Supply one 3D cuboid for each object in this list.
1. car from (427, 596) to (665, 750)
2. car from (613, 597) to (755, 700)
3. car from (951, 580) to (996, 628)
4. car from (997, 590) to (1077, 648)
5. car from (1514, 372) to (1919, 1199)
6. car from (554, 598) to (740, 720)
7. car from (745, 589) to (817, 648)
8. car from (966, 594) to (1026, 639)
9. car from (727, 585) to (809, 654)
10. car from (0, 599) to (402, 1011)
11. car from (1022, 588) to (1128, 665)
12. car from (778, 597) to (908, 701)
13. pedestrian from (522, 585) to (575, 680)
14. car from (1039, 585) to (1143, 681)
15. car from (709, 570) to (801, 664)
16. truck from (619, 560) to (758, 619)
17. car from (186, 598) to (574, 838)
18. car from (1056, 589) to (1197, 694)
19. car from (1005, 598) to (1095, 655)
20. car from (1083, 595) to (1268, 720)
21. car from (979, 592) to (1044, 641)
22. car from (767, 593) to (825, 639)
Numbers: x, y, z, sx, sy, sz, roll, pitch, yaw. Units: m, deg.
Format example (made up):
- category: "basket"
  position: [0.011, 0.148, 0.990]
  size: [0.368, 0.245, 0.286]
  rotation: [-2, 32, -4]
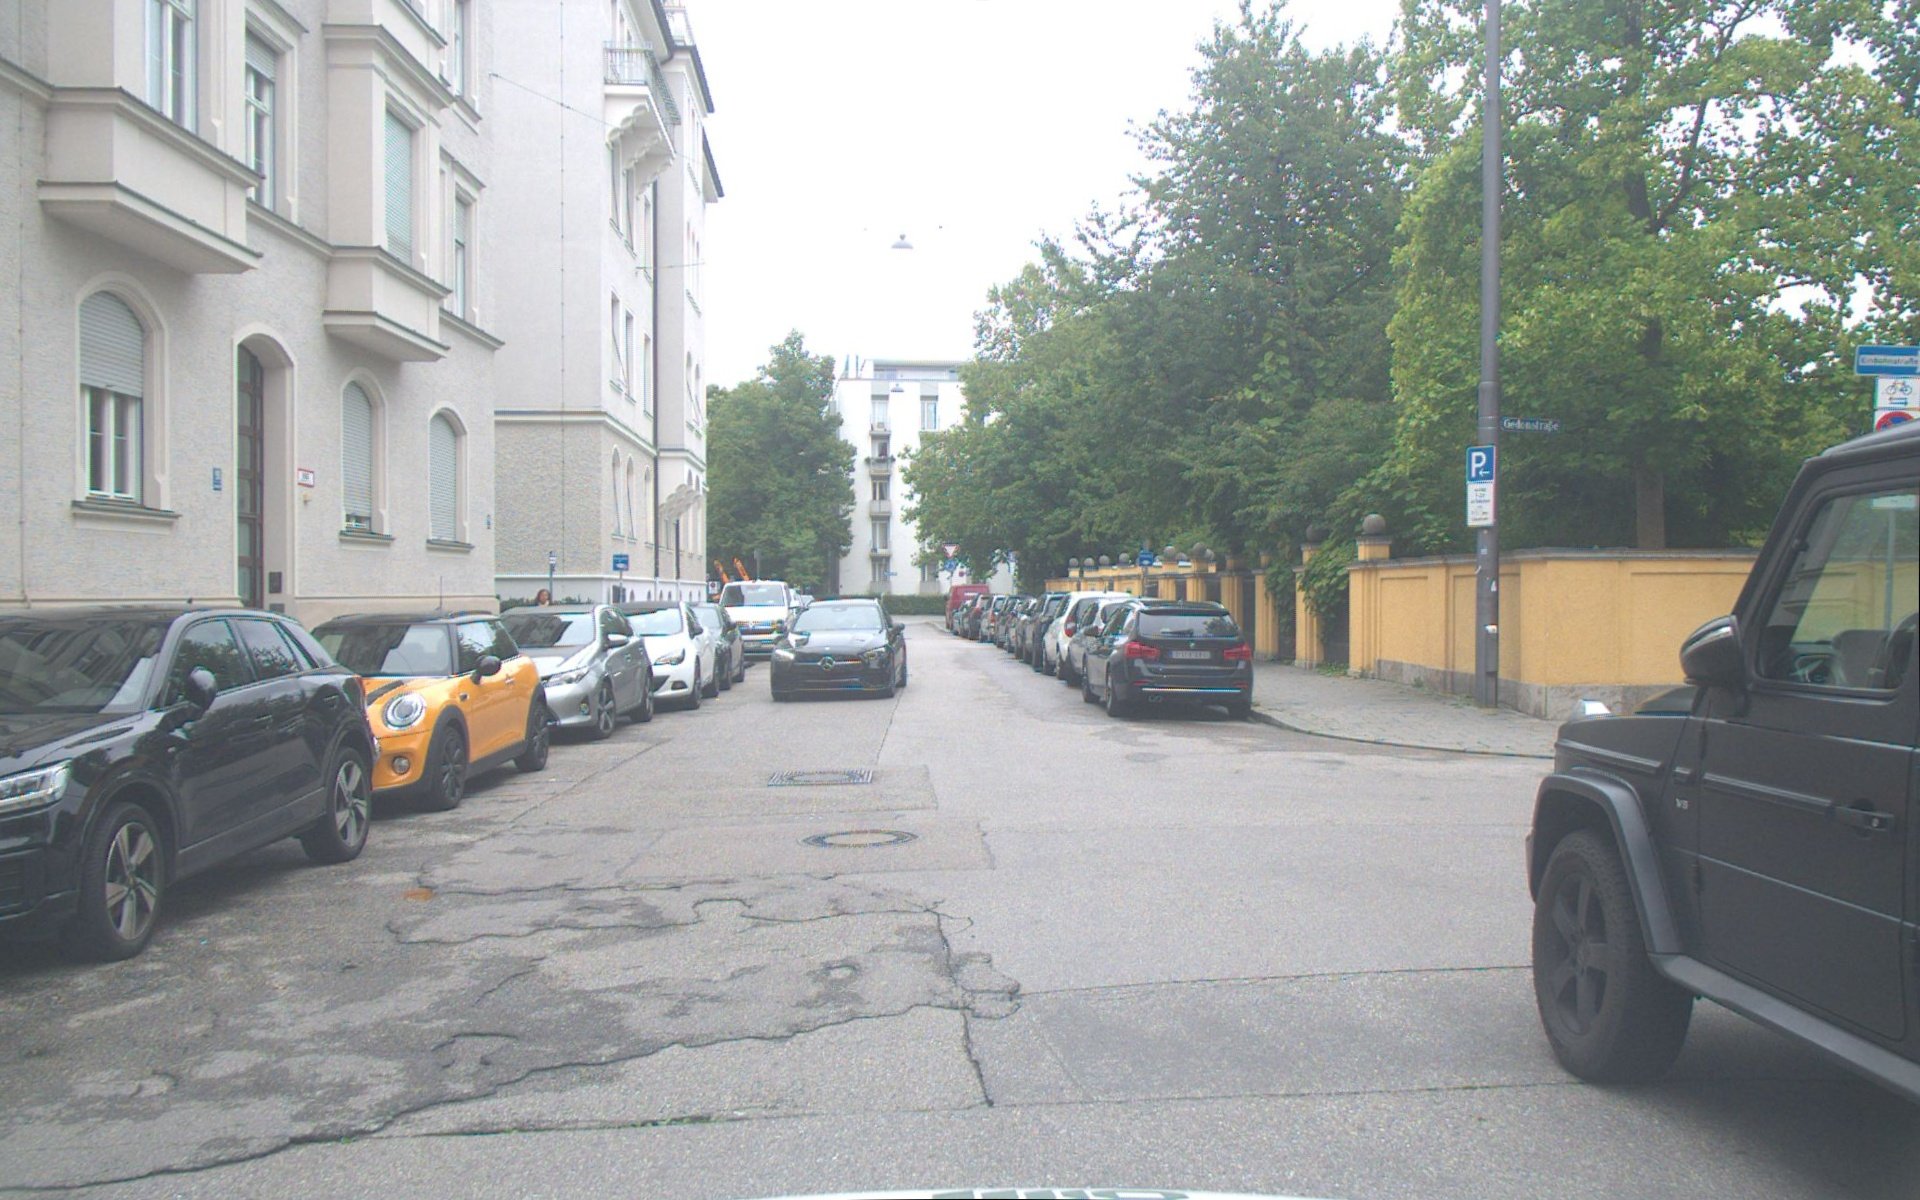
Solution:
- category: "car"
  position: [-4.585, 0.753, 18.889]
  size: [1.690, 1.526, 3.930]
  rotation: [-1, 0, 0]
- category: "car"
  position: [-4.675, 0.776, 28.599]
  size: [1.799, 1.525, 4.273]
  rotation: [-3, 1, -2]
- category: "car"
  position: [0.602, 0.151, 72.071]
  size: [1.798, 1.960, 4.005]
  rotation: [2, 1, 2]
- category: "car"
  position: [2.151, 0.528, 47.114]
  size: [1.802, 1.545, 3.944]
  rotation: [1, 0, -4]
- category: "car"
  position: [3.015, 0.522, 3.663]
  size: [1.911, 1.988, 4.665]
  rotation: [1, 1, -1]
- category: "car"
  position: [-4.380, 0.763, 23.786]
  size: [1.799, 1.463, 4.275]
  rotation: [-3, 1, 0]
- category: "car"
  position: [-5.813, 0.563, 54.202]
  size: [1.975, 1.756, 4.273]
  rotation: [-3, 1, -2]
- category: "car"
  position: [1.263, 0.584, 60.127]
  size: [1.802, 1.545, 3.944]
  rotation: [1, 0, -4]
- category: "car"
  position: [-5.574, 0.527, 48.401]
  size: [1.975, 1.802, 4.412]
  rotation: [-3, 1, -2]
- category: "car"
  position: [-4.337, 0.799, 8.209]
  size: [1.717, 1.526, 4.018]
  rotation: [-2, 0, 0]
- category: "car"
  position: [2.481, 0.573, 36.635]
  size: [1.802, 1.578, 3.944]
  rotation: [1, 0, -4]
- category: "car"
  position: [-1.766, 0.688, 25.674]
  size: [1.837, 1.453, 4.406]
  rotation: [0, 0, -3]
- category: "pedestrian"
  position: [-7.500, 0.583, 30.172]
  size: [0.776, 1.708, 0.700]
  rotation: [-1, 0, -3]
- category: "car"
  position: [2.431, 0.604, 31.438]
  size: [1.483, 1.690, 3.672]
  rotation: [1, 0, -3]
- category: "car"
  position: [-5.177, 0.384, 42.279]
  size: [1.848, 2.164, 4.704]
  rotation: [-3, 1, -2]
- category: "truck"
  position: [-15.786, -0.633, 96.346]
  size: [7.616, 3.298, 2.860]
  rotation: [0, 0, -38]
- category: "car"
  position: [-4.440, 0.804, 13.317]
  size: [1.607, 1.525, 3.972]
  rotation: [-3, 1, 1]
- category: "car"
  position: [2.616, 0.626, 26.711]
  size: [1.620, 1.545, 3.792]
  rotation: [1, 0, -4]
- category: "car"
  position: [2.255, 0.656, 42.193]
  size: [1.802, 1.369, 3.944]
  rotation: [1, 0, -4]
- category: "car"
  position: [2.706, 0.691, 21.689]
  size: [1.801, 1.438, 4.342]
  rotation: [1, 0, -1]
- category: "car"
  position: [1.697, 0.543, 55.954]
  size: [1.802, 1.545, 3.944]
  rotation: [1, 0, -4]
- category: "car"
  position: [-6.491, 0.614, 65.913]
  size: [1.975, 1.662, 4.412]
  rotation: [-3, 1, -2]
